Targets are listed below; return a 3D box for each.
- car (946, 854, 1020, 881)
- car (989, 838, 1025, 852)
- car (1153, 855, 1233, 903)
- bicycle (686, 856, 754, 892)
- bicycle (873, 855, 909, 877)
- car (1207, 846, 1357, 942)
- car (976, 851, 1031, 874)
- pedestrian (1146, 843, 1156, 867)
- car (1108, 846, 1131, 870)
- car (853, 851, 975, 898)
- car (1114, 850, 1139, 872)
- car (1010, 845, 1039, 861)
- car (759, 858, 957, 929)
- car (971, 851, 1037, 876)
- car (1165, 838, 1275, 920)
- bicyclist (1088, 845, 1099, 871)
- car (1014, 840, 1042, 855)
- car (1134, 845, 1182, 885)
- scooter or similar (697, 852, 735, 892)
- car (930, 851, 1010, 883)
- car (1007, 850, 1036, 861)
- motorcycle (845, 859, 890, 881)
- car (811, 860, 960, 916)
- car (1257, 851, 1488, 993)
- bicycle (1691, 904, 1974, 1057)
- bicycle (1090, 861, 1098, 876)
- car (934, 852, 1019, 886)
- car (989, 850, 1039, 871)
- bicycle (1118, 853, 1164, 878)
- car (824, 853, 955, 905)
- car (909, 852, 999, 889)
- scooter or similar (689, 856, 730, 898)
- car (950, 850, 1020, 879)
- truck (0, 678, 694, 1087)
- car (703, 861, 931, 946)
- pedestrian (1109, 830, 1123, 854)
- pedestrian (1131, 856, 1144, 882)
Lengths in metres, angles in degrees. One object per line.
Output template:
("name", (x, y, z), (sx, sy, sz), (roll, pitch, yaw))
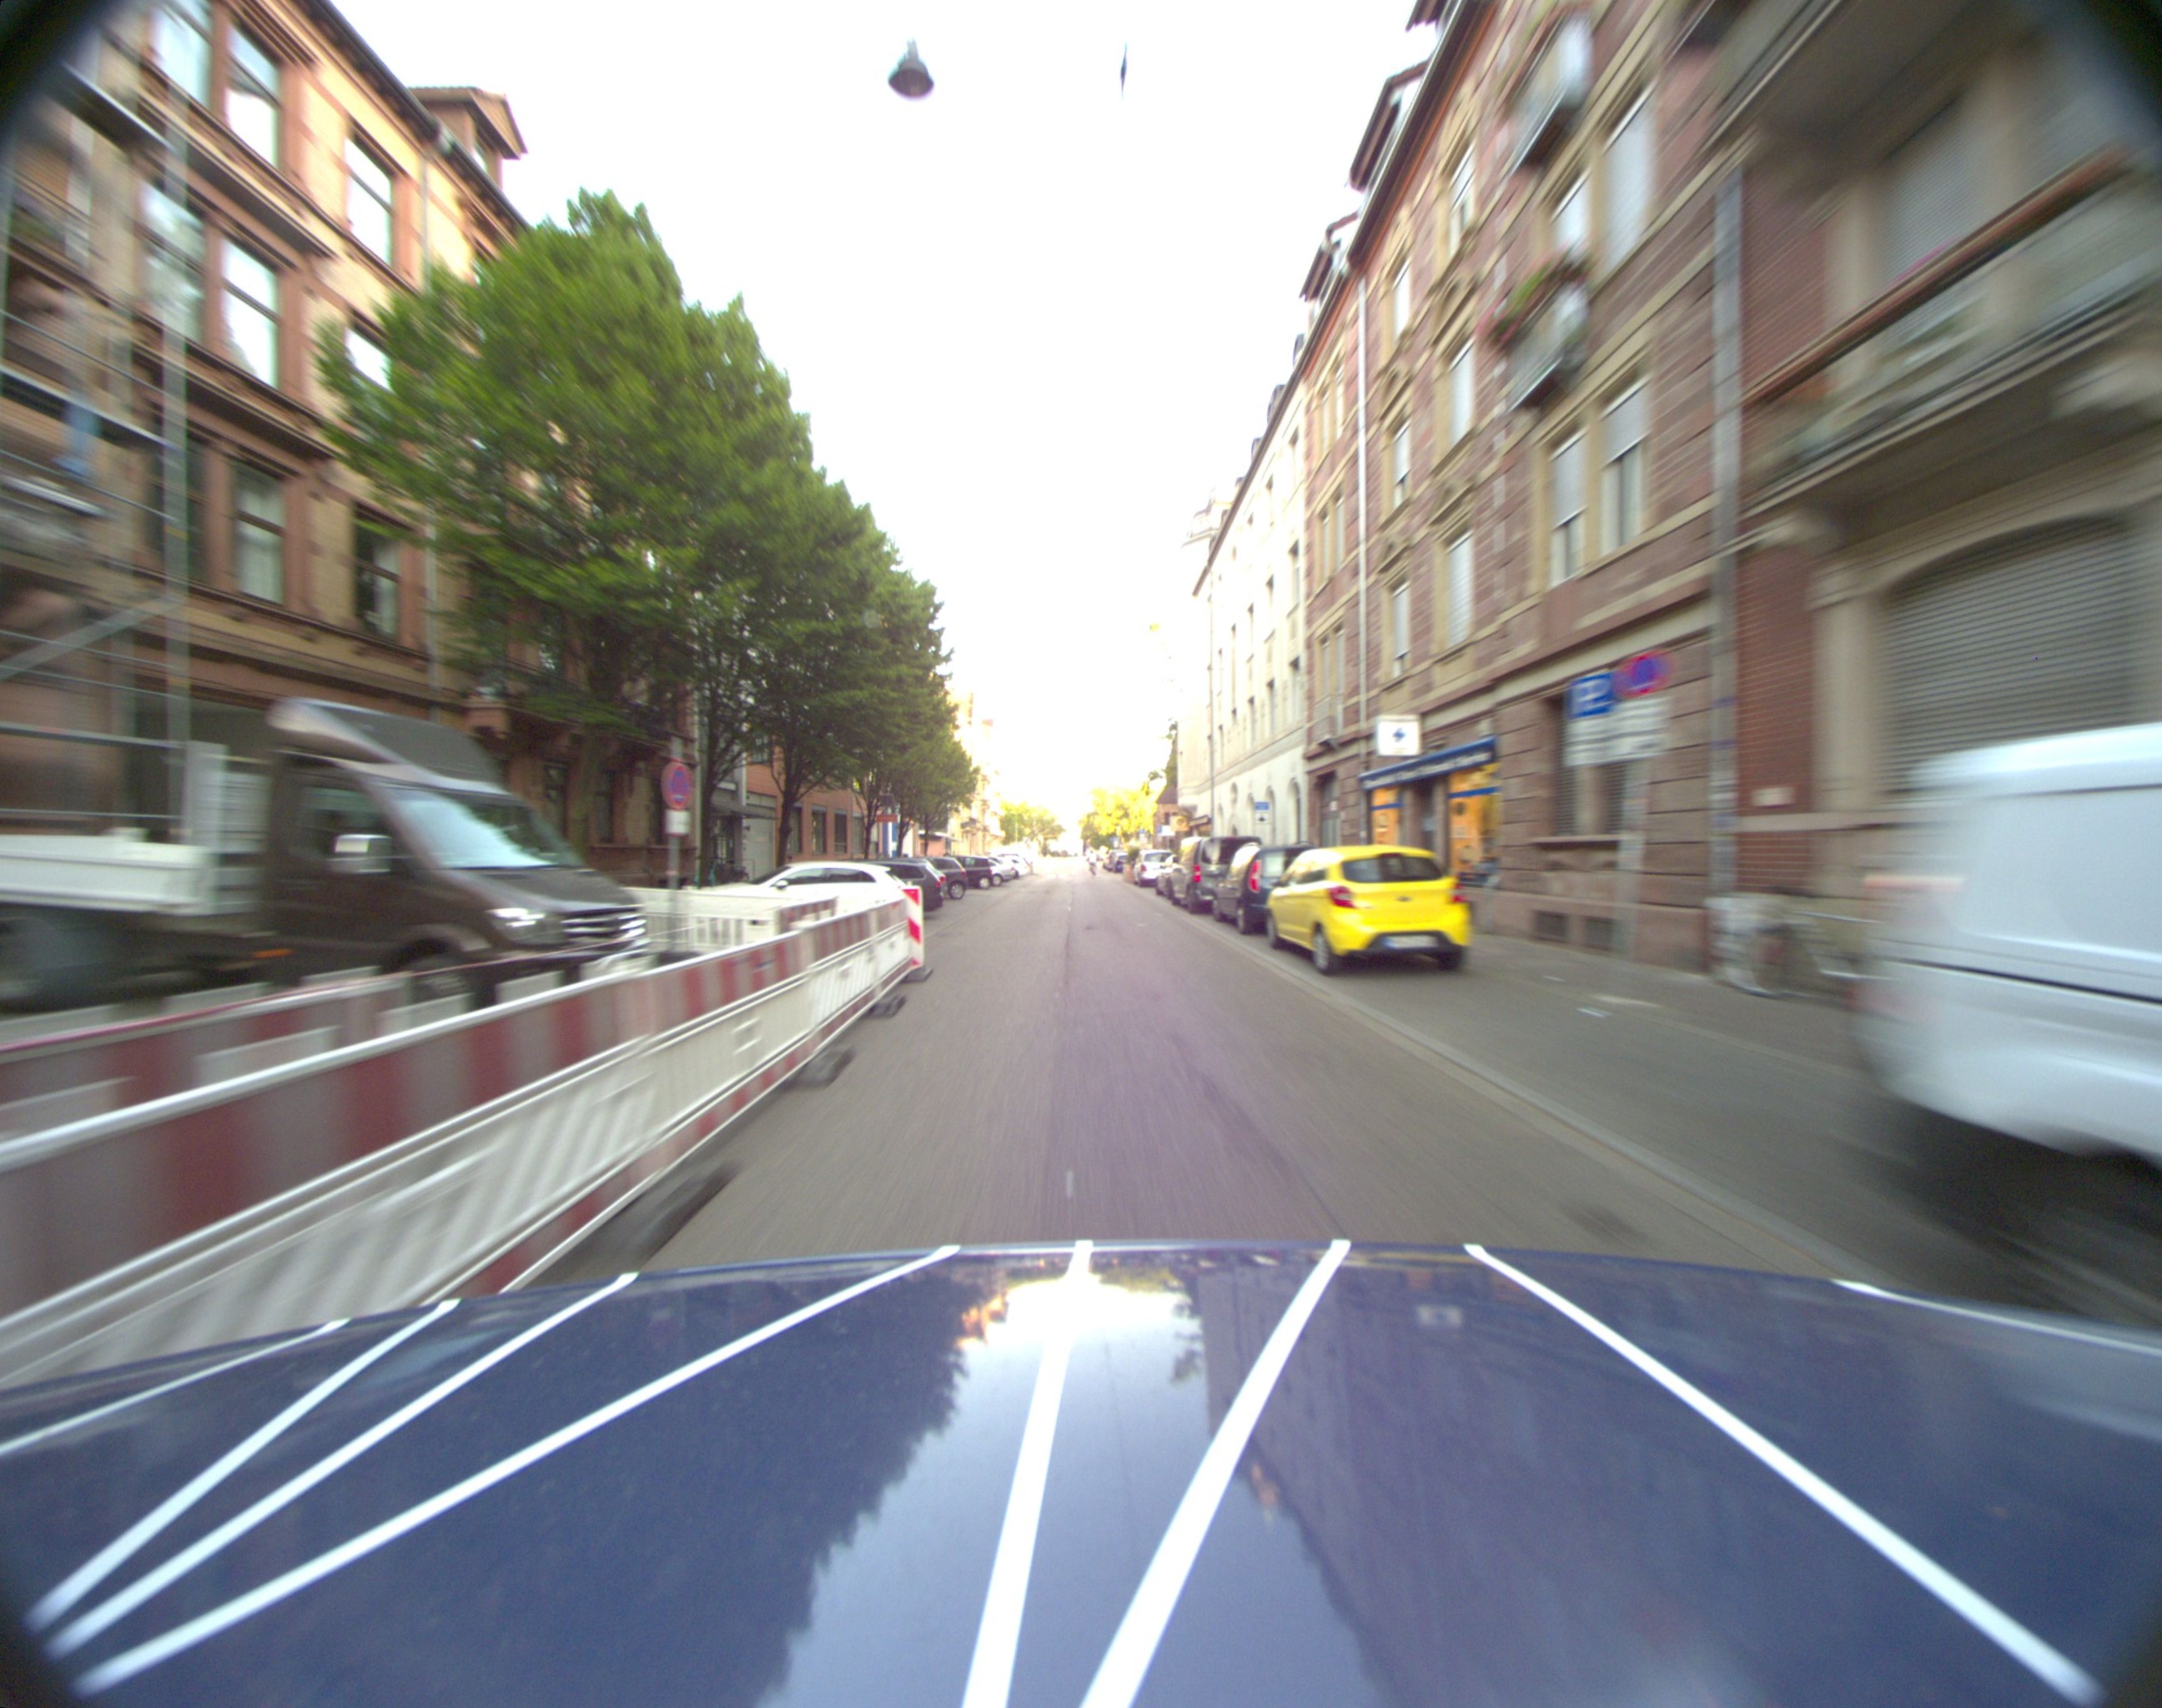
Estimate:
("car", (-5.589, 0.763, 43.518), (3.841, 1.422, 1.673), (2, 1, -30))
("car", (-8.868, -1.127, 90.715), (3.841, 1.510, 1.673), (2, 1, -29))
("car", (3.645, 0.772, 25.508), (1.932, 1.422, 4.480), (-1, 0, -1))
("bicycle", (-12.336, 0.685, 26.032), (2.025, 1.158, 0.579), (2, 0, -18))
("bicycle", (-10.463, 0.667, 41.858), (1.770, 1.094, 0.546), (3, 1, -7))
("car", (3.716, 0.670, 14.769), (1.932, 1.587, 3.969), (-1, 0, 1))
("car", (-5.835, 0.633, 57.219), (3.837, 1.510, 1.675), (2, 1, -16))
("pedestrian", (5.067, 0.082, 54.901), (0.566, 1.723, 0.562), (-2, 1, -1))
("car", (3.300, 0.305, 65.509), (1.786, 1.860, 4.457), (-2, 1, 1))
("car", (-5.849, 0.721, 26.721), (3.807, 1.508, 1.646), (2, 0, -33))
("car", (3.628, 0.538, 60.536), (1.786, 1.538, 3.999), (-2, 1, 1))
("car", (-8.663, -0.194, 116.964), (4.202, 2.280, 1.673), (1, 1, -39))
("car", (-5.316, 0.903, 18.303), (4.179, 1.480, 1.826), (2, 0, -36))
("car", (-5.001, 0.645, 49.424), (3.842, 1.510, 1.673), (2, 1, -33))
("car", (3.506, 0.562, 20.141), (1.932, 1.872, 4.904), (-1, 0, -1))
("bicyclist", (0.852, 0.245, 50.658), (0.624, 1.682, 1.003), (-2, 1, -1))
("car", (-8.746, -1.035, 125.392), (4.201, 2.246, 1.673), (1, 1, -35))
("car", (3.458, 0.464, 34.597), (1.730, 1.638, 3.916), (-2, 0, 0))
("scooter or similar", (-11.919, 0.575, 24.848), (0.329, 1.274, 1.067), (-1, 2, 29))
("car", (-5.976, 0.717, 41.018), (3.841, 1.557, 1.673), (2, 1, -30))
("car", (-8.897, 0.247, 113.842), (3.842, 1.510, 1.673), (1, 1, -35))
("motorcycle", (-10.131, 0.766, 36.064), (1.984, 0.921, 0.591), (3, 1, 13))
("car", (-5.469, 0.914, 21.288), (3.638, 1.412, 1.826), (2, 0, -32))
("car", (3.618, 0.735, 10.197), (1.709, 1.521, 3.792), (-1, 0, 1))
("bicycle", (6.270, 0.986, 6.521), (0.357, 0.940, 1.994), (-2, 1, -3))
("bicycle", (0.858, 0.946, 50.796), (0.477, 0.938, 1.895), (-2, 1, -1))
("car", (-5.252, 0.760, 38.374), (3.841, 1.557, 1.673), (2, 1, -30))
("car", (-5.489, 0.543, 62.228), (3.837, 1.510, 1.675), (2, 1, -16))
("bicycle", (3.547, 0.694, 45.041), (2.619, 1.390, 0.602), (-2, 1, 12))
("car", (-5.942, 0.765, 23.663), (3.638, 1.508, 1.621), (2, 0, -28))
("car", (-5.963, 0.782, 35.645), (3.839, 1.557, 1.674), (2, 1, -22))
("scooter or similar", (-11.733, 0.716, 23.999), (0.329, 1.274, 1.068), (-1, 2, 37))
("car", (-5.846, 0.630, 46.252), (3.841, 1.639, 1.674), (2, 1, -28))
("truck", (-7.610, 0.272, 7.216), (6.495, 3.059, 2.524), (-2, 1, 3))
("car", (-5.262, 0.934, 15.318), (4.003, 1.480, 1.680), (2, 0, -34))
("pedestrian", (4.198, -1.429, 90.870), (1.445, 2.725, 1.011), (-2, 1, -1))
("pedestrian", (2.928, 0.777, 39.468), (0.571, 1.315, 0.496), (-2, 1, -1))
